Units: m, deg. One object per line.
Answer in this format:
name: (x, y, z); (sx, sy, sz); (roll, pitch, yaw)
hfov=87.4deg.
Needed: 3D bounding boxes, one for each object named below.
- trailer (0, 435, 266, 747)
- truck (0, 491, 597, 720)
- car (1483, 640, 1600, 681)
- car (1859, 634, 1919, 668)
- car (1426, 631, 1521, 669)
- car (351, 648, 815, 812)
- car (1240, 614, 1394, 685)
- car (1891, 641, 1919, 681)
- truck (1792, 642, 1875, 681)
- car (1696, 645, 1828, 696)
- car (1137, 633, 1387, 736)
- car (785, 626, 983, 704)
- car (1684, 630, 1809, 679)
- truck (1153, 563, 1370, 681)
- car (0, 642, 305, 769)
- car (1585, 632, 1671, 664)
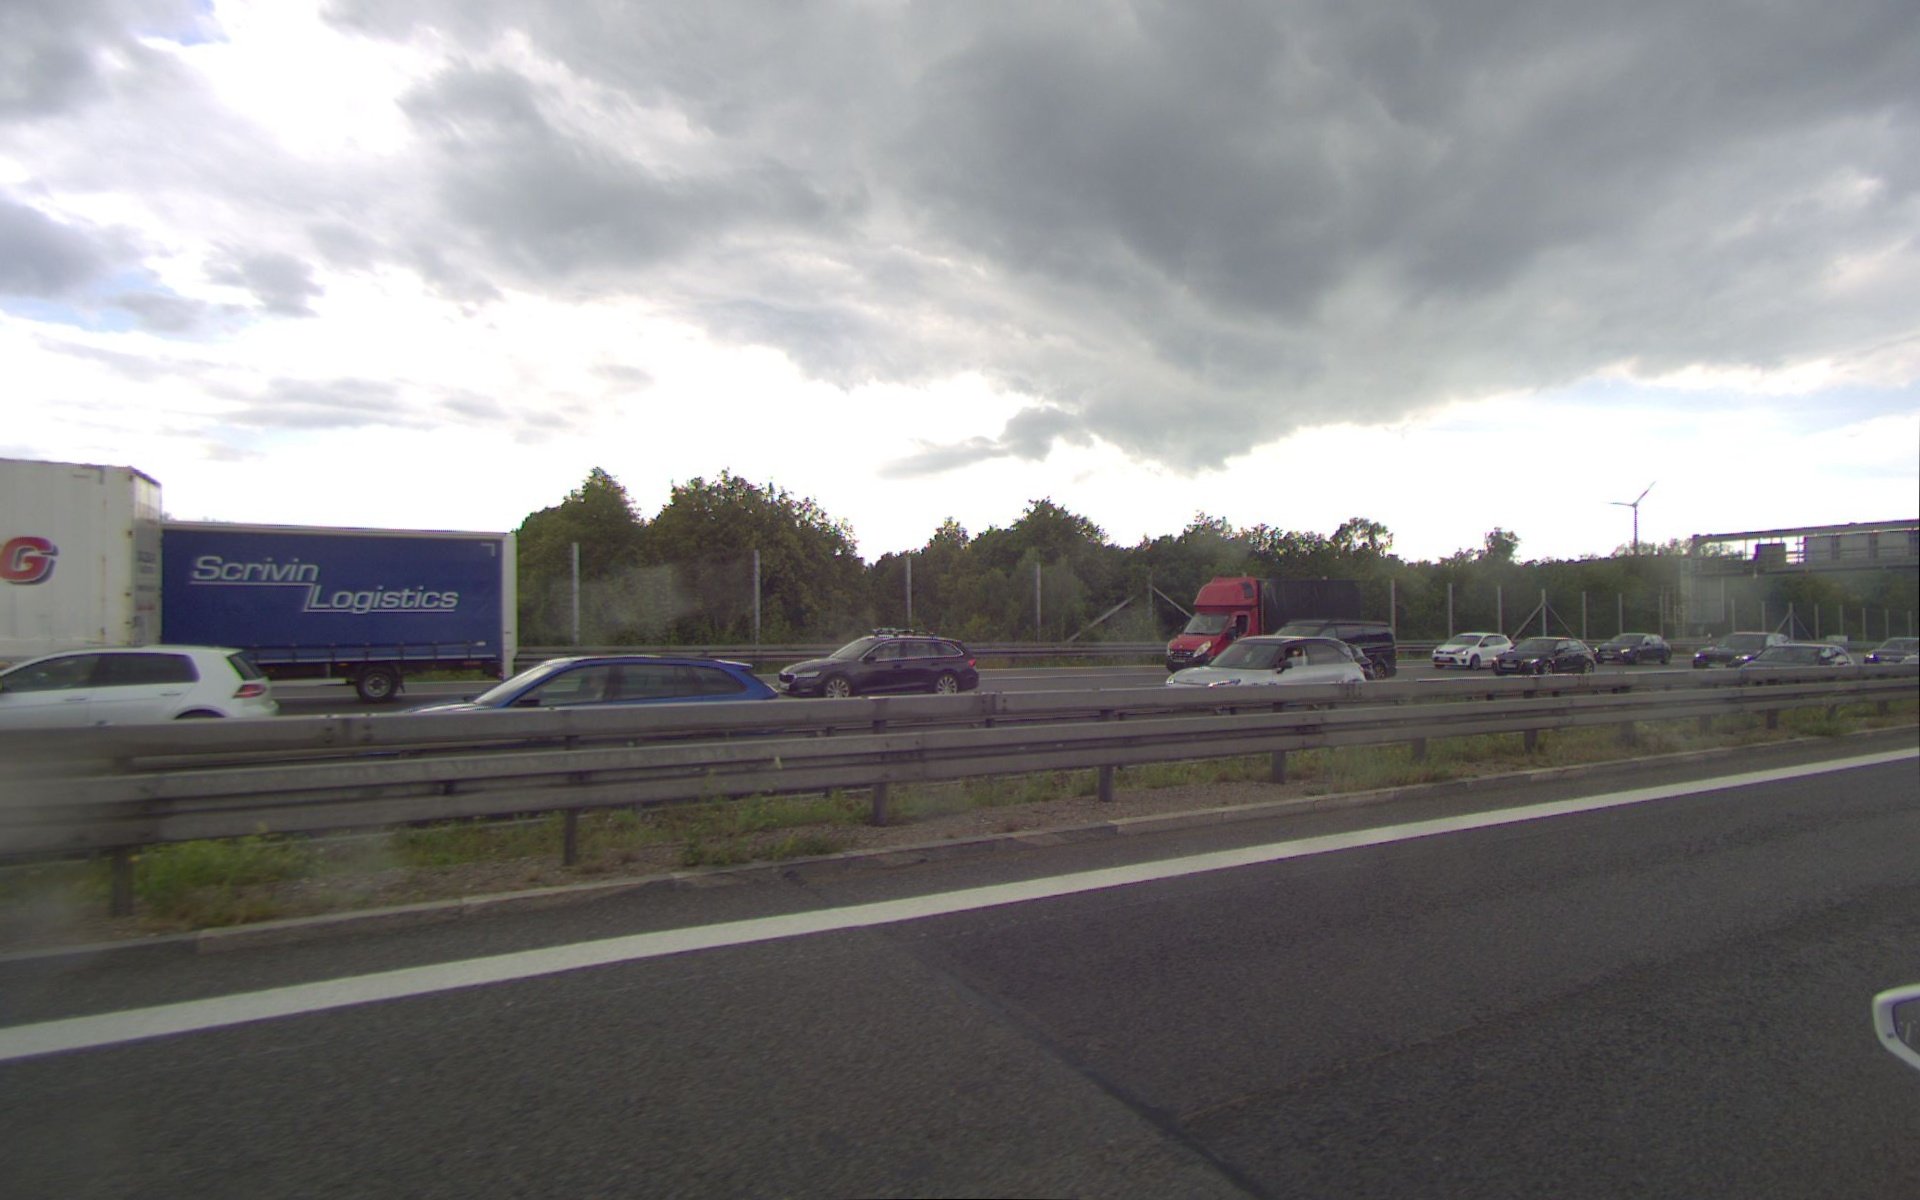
trailer: (-16.607, -0.139, 13.415); (11.820, 4.250, 3.170); (1, -1, -31)
truck: (-13.261, 0.169, 20.582); (10.629, 3.891, 2.885); (1, -1, -30)
car: (20.298, 2.069, 35.024); (4.549, 1.299, 1.575); (1, -1, -31)
car: (41.119, 2.170, 43.597); (4.511, 1.358, 1.880); (1, -1, -31)
car: (20.813, 1.984, 40.689); (3.957, 1.445, 1.575); (1, -1, -31)
car: (-4.133, 1.320, 11.398); (4.674, 1.459, 1.638); (1, -1, -30)
car: (10.418, 1.386, 29.199); (4.765, 1.915, 1.575); (1, -1, -31)
car: (35.462, 2.168, 35.958); (4.888, 1.358, 1.880); (1, -1, -31)
truck: (42.697, 2.976, 49.080); (3.955, 1.769, 1.983); (1, -1, -32)
car: (23.335, 2.010, 29.192); (4.139, 1.306, 1.694); (1, -1, -31)
car: (5.680, 1.469, 18.730); (4.667, 1.669, 1.863); (1, -1, -31)
car: (-1.641, 1.359, 22.083); (4.057, 1.584, 1.638); (1, -1, -30)
car: (28.324, 1.909, 36.117); (5.076, 1.619, 1.872); (1, -1, -31)
truck: (10.165, 0.740, 33.504); (7.718, 3.584, 2.451); (1, -1, -31)
car: (-11.052, 1.275, 12.739); (4.490, 1.426, 1.638); (1, -1, -30)
car: (31.507, 2.229, 47.360); (4.292, 1.445, 1.753); (1, -1, -31)
